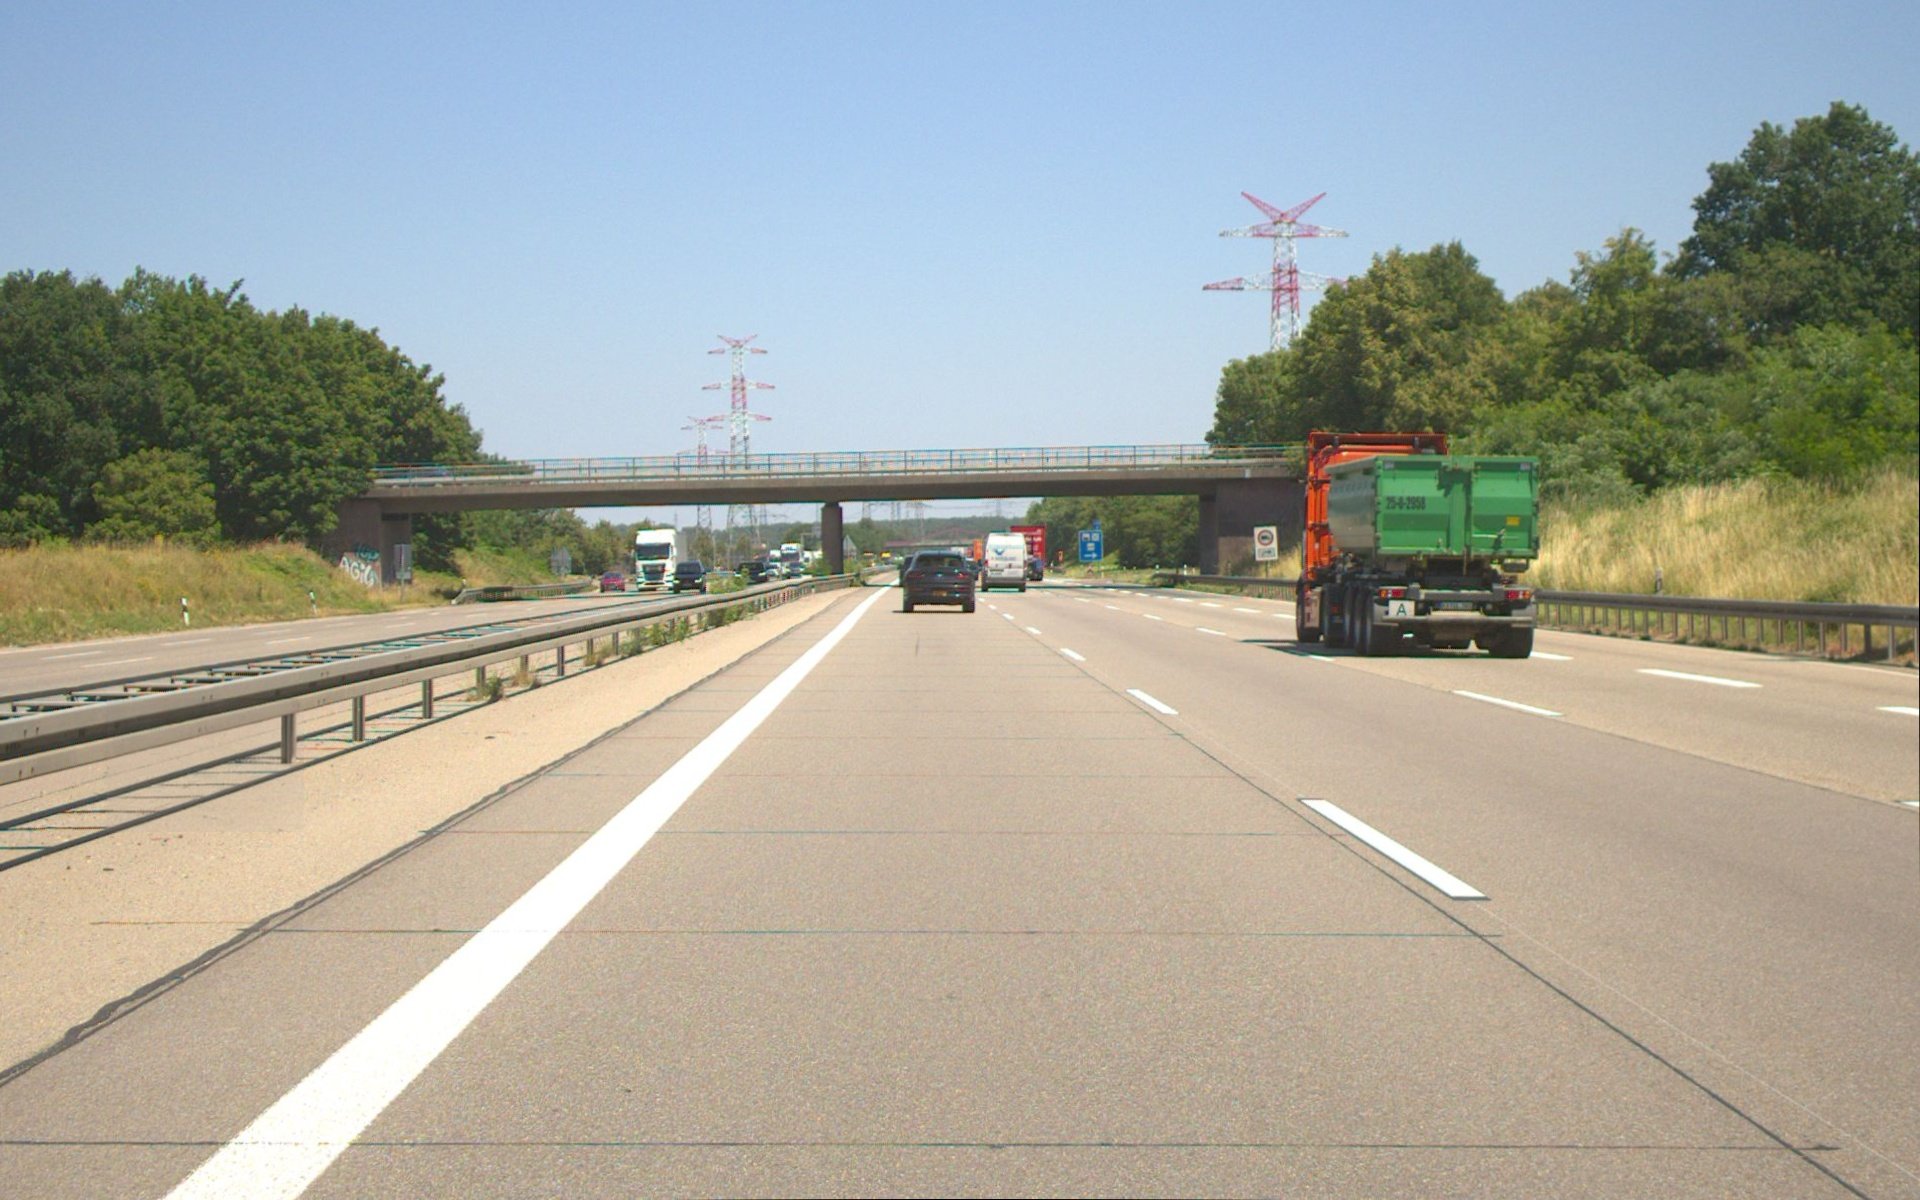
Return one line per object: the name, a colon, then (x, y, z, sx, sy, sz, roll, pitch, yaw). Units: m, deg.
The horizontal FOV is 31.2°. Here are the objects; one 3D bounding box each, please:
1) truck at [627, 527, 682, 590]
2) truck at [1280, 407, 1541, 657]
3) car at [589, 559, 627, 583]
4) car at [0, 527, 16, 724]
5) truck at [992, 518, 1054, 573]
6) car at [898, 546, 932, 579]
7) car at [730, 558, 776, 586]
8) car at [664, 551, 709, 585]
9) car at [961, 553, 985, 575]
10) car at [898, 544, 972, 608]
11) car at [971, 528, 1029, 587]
truck: (-20.386, -2.779, 229.861, 2.949, 3.946, 6.953, -3, 1, -1)
truck: (7.493, -1.135, 58.969, 2.681, 3.785, 12.479, 1, 1, 0)
car: (-25.088, -2.059, 245.101, 2.228, 1.605, 4.788, -3, 1, -1)
car: (-10.381, 0.330, 30.844, 2.364, 1.888, 5.225, -3, 1, -1)
truck: (4.667, -4.125, 259.798, 4.332, 3.928, 16.078, 1, 1, 0)
car: (-2.431, -2.026, 184.364, 1.794, 1.744, 4.000, 1, 1, -1)
car: (-11.578, -1.566, 192.562, 2.228, 1.419, 5.300, -3, 1, -1)
car: (-15.959, -1.885, 200.850, 2.228, 1.806, 5.300, -3, 1, -1)
car: (0.948, -2.669, 254.661, 1.747, 1.628, 4.004, 1, 1, 0)
car: (-0.710, -0.695, 96.434, 1.993, 1.744, 4.000, 1, 1, -1)
car: (1.868, -2.041, 164.273, 2.621, 2.749, 6.096, 1, 1, 0)
